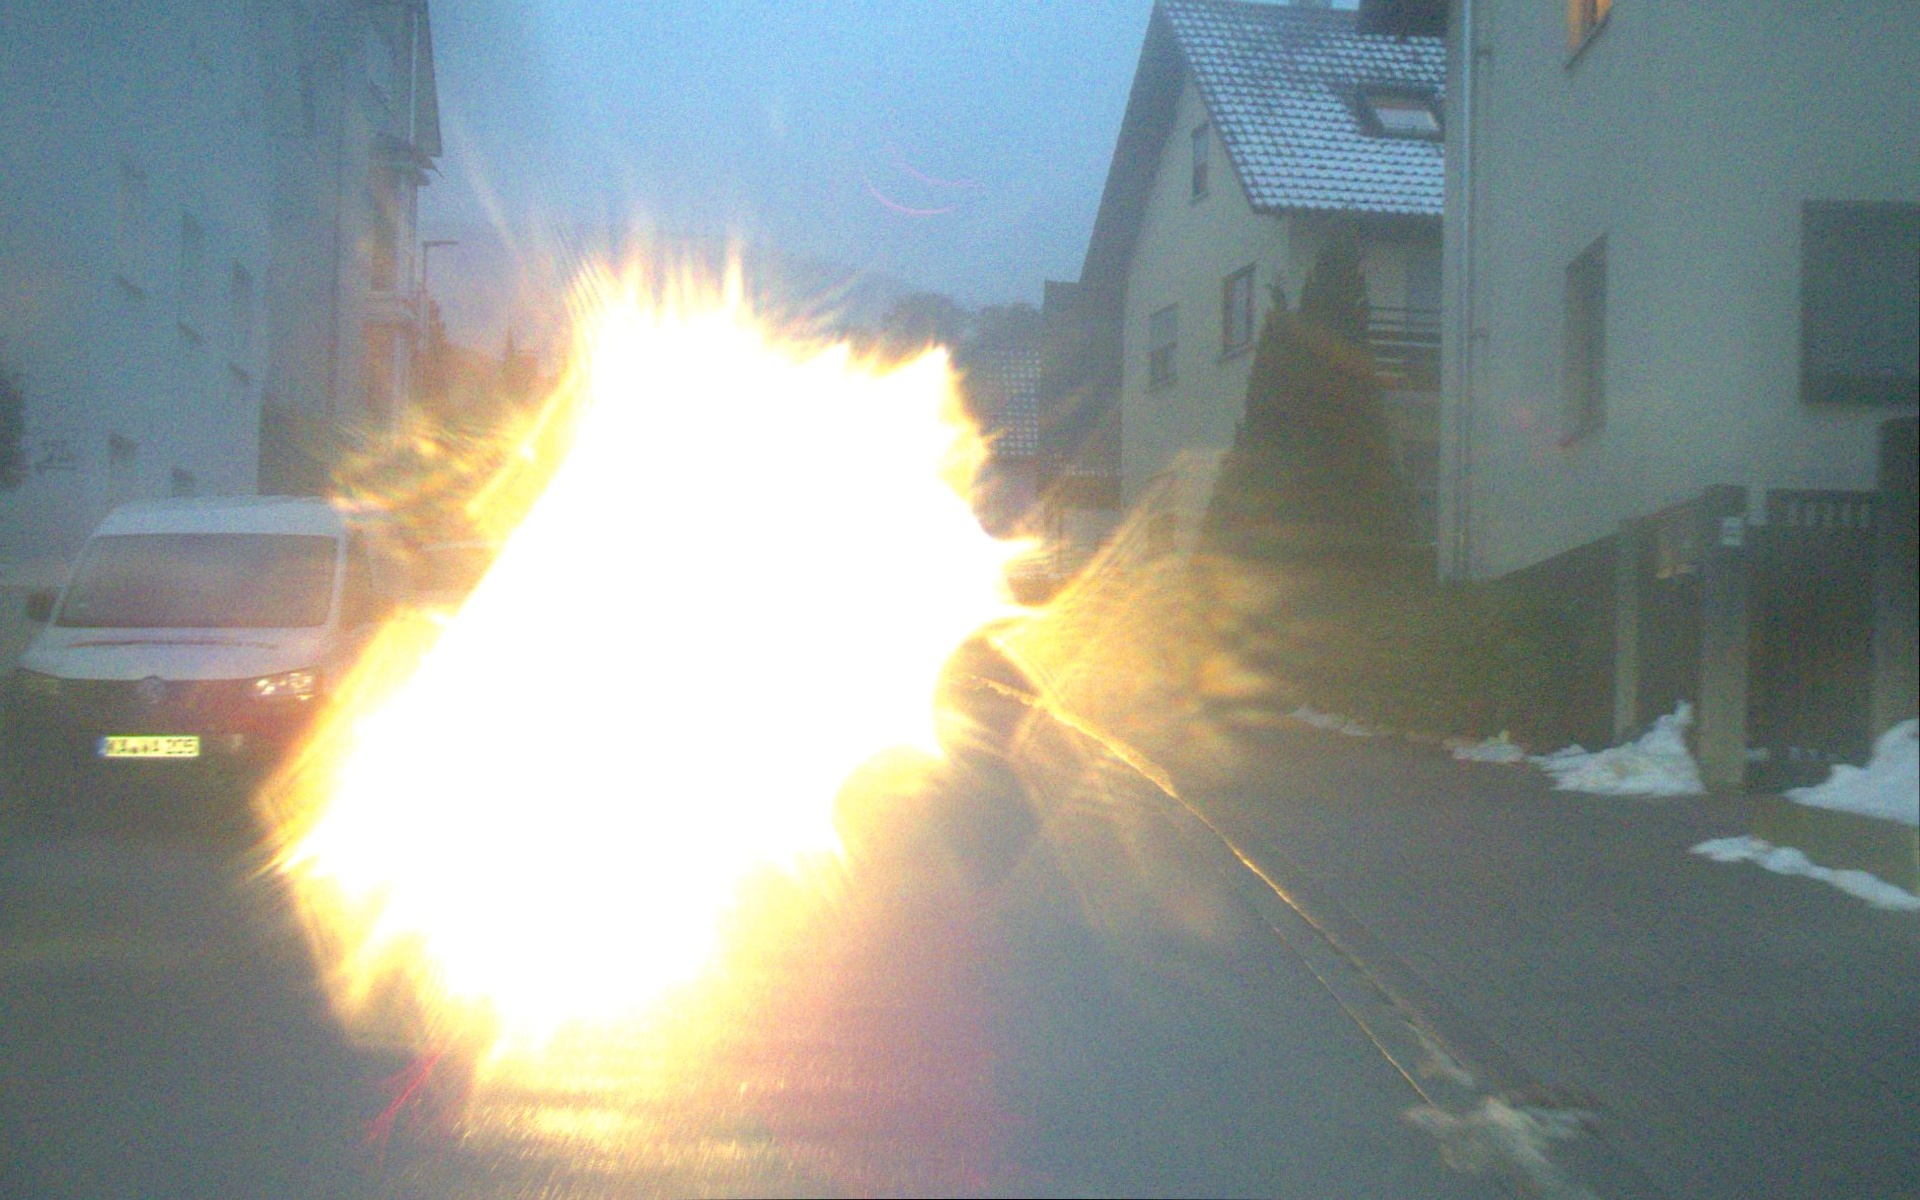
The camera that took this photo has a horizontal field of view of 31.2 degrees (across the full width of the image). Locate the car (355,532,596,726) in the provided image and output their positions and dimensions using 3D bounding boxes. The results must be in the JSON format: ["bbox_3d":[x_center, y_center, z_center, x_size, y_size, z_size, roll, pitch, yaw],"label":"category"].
[{"bbox_3d":[-4.704,0.246,33.883,1.993,1.794,4.000,0,1,-3],"label":"car"}]

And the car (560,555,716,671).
[{"bbox_3d":[-4.842,0.223,52.221,1.993,1.644,4.000,1,-1,-1],"label":"car"}]

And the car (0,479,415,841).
[{"bbox_3d":[-4.223,0.279,19.579,1.825,1.829,4.345,0,1,-4],"label":"car"}]
